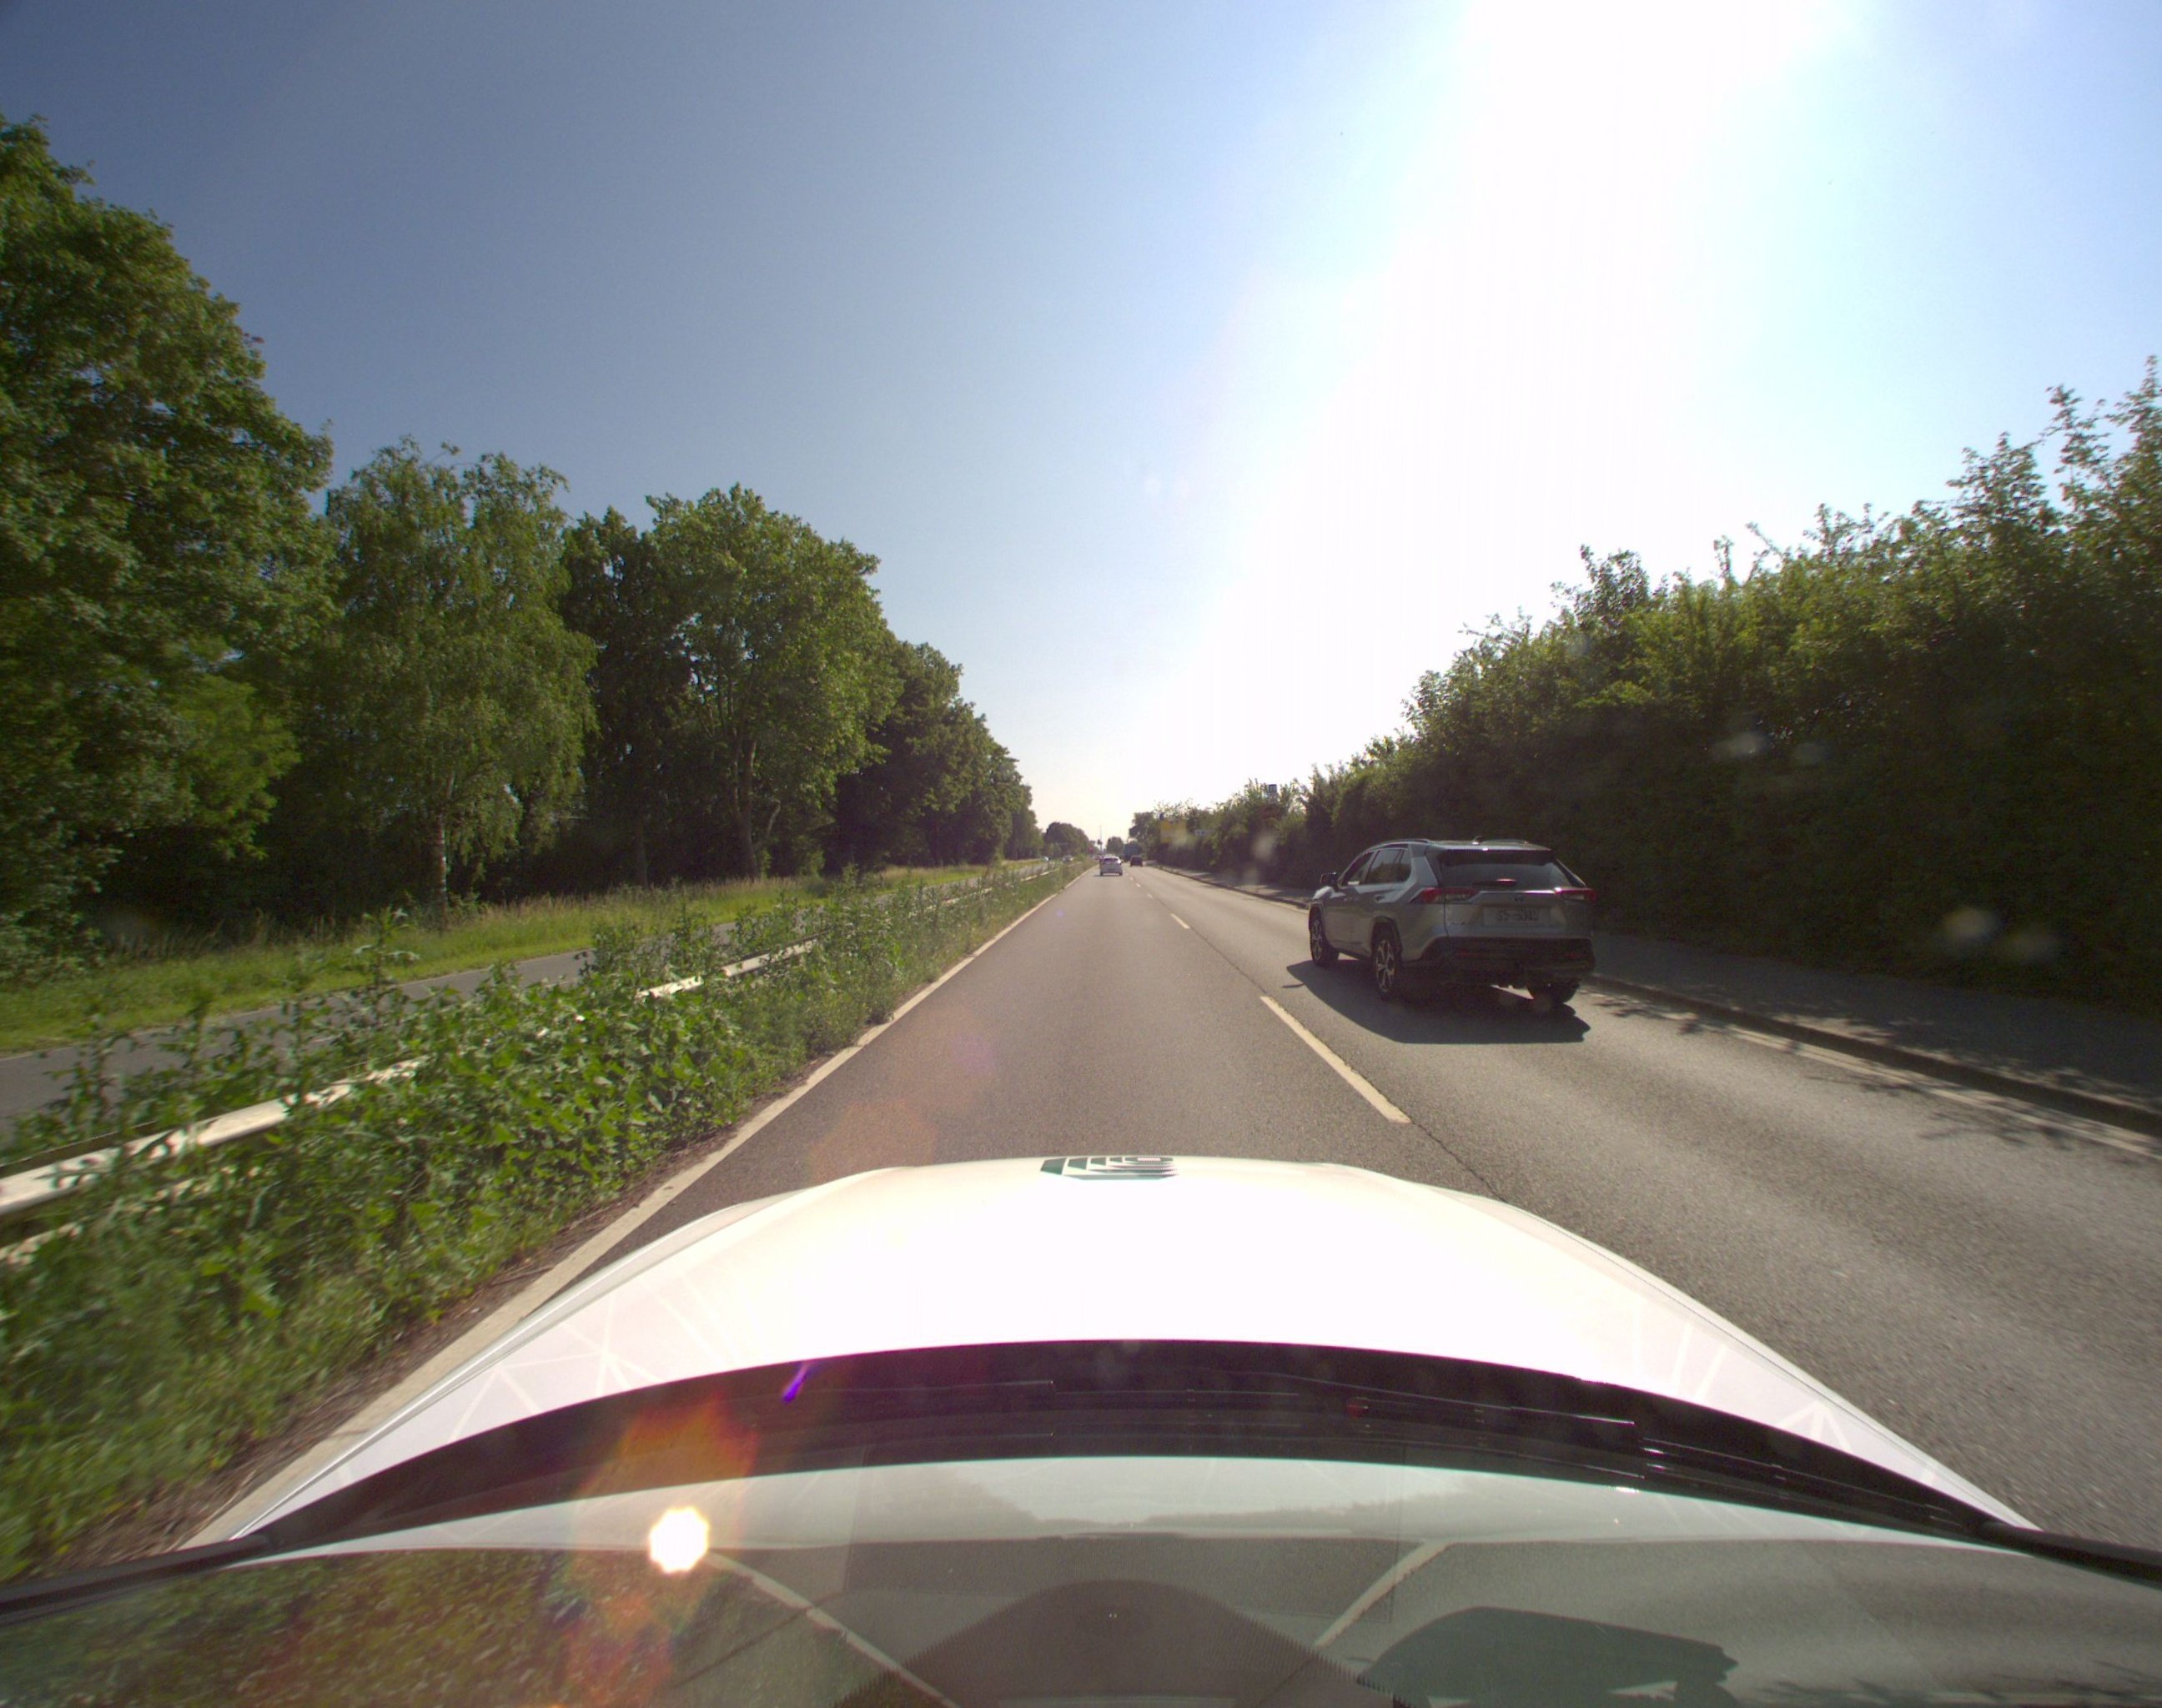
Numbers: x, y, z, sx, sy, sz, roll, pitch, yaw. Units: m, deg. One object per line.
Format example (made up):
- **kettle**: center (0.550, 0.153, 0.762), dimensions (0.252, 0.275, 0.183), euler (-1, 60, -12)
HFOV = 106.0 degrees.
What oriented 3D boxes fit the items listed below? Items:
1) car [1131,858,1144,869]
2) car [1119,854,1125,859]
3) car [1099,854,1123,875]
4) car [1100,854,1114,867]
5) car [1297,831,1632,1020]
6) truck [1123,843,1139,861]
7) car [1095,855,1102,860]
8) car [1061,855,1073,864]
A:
- **car**: center (7.229, 1.231, 104.931), dimensions (1.566, 1.414, 3.279), euler (-1, -1, 2)
- **car**: center (12.639, 0.696, 251.698), dimensions (1.804, 1.464, 4.465), euler (-2, -1, 4)
- **car**: center (2.361, 0.774, 62.741), dimensions (1.791, 1.552, 4.003), euler (0, 0, 3)
- **car**: center (3.070, 0.773, 95.025), dimensions (1.566, 1.414, 3.279), euler (-1, -1, 2)
- **car**: center (4.047, 0.643, 9.619), dimensions (1.895, 1.680, 4.685), euler (0, 0, 2)
- **truck**: center (9.963, -0.460, 164.156), dimensions (2.880, 3.428, 9.173), euler (-2, 0, 2)
- **car**: center (5.166, 1.132, 245.297), dimensions (1.804, 1.464, 4.975), euler (-3, -1, 4)
- **car**: center (-2.484, 0.977, 149.406), dimensions (1.770, 1.530, 4.166), euler (-3, 0, 4)
